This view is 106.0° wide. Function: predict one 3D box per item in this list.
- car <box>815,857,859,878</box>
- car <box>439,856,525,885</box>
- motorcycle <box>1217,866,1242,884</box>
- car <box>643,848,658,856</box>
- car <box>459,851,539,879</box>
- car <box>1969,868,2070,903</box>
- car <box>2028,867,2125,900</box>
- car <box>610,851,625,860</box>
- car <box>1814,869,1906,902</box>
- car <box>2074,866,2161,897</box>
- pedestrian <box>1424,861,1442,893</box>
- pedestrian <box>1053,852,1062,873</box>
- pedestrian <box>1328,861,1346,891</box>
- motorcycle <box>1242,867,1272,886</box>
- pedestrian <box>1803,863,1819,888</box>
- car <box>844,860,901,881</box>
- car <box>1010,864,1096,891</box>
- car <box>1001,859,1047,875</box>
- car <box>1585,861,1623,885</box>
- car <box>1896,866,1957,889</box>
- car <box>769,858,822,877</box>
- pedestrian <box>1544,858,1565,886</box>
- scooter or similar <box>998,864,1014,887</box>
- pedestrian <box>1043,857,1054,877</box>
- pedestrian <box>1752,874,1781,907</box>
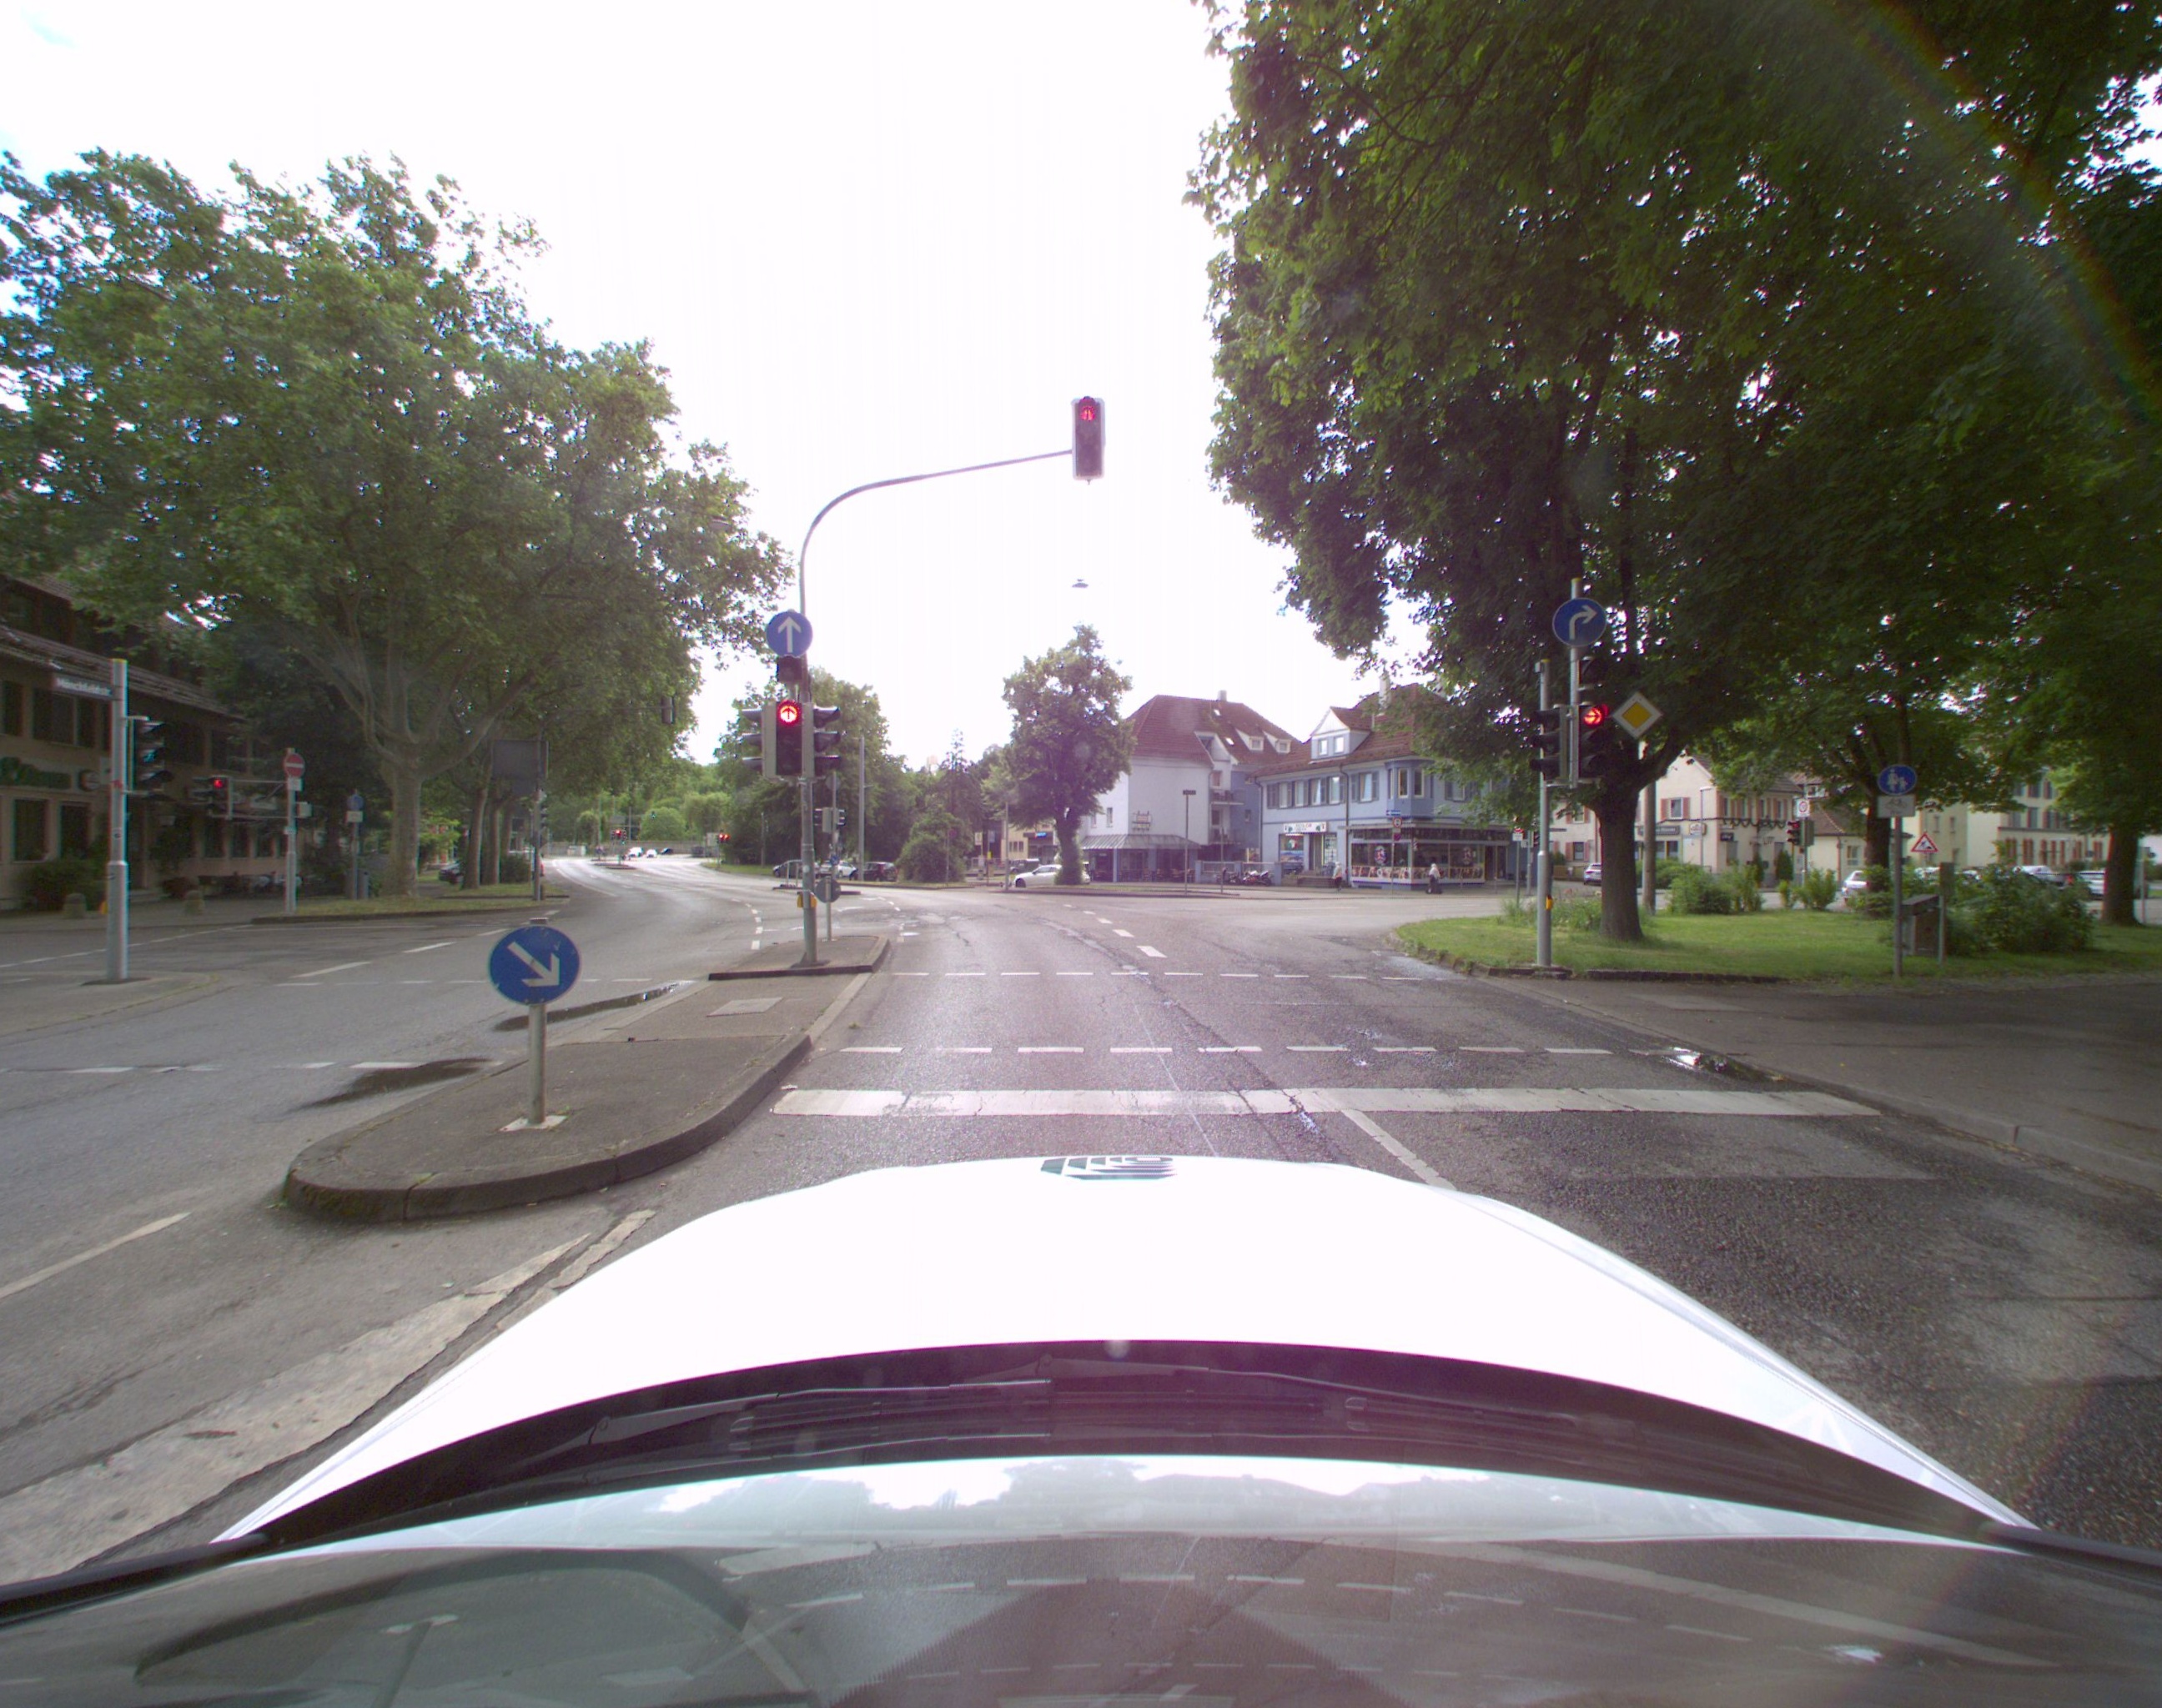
[{"bbox_3d":[-20.139,1.090,67.411,1.848,1.640,3.768,0,0,13],"label":"car"},{"bbox_3d":[-35.634,0.958,48.612,4.015,1.684,1.979,0,-1,-34],"label":"car"},{"bbox_3d":[9.130,1.312,50.051,1.441,1.088,0.527,-1,-1,37],"label":"motorcycle"},{"bbox_3d":[-83.159,-0.404,157.341,2.988,1.417,1.509,-1,-2,42],"label":"car"},{"bbox_3d":[-36.464,0.683,51.181,4.015,1.684,1.979,0,-1,-34],"label":"car"},{"bbox_3d":[42.341,1.383,36.755,3.731,1.457,1.640,0,0,-17],"label":"car"},{"bbox_3d":[47.075,1.375,38.518,3.731,1.457,1.640,0,0,-17],"label":"car"},{"bbox_3d":[-87.029,0.278,152.931,3.293,1.486,1.594,-1,-2,43],"label":"car"},{"bbox_3d":[31.825,1.276,33.282,3.007,1.267,1.455,0,-1,-17],"label":"car"},{"bbox_3d":[52.591,1.375,41.256,3.731,1.457,1.640,0,0,-17],"label":"car"},{"bbox_3d":[17.555,1.130,40.574,0.687,1.560,0.671,-1,-1,33],"label":"pedestrian"},{"bbox_3d":[-1.740,0.620,59.474,0.538,1.560,0.470,-1,-1,15],"label":"pedestrian"},{"bbox_3d":[13.642,1.159,43.419,0.724,1.560,0.773,-1,-1,33],"label":"pedestrian"},{"bbox_3d":[10.423,1.322,48.248,1.609,1.088,0.631,-1,-1,34],"label":"motorcycle"},{"bbox_3d":[44.519,1.304,49.680,0.504,1.560,0.507,0,-1,-13],"label":"pedestrian"},{"bbox_3d":[-13.831,1.059,54.005,3.285,1.352,1.791,0,0,29],"label":"car"},{"bbox_3d":[-1.599,1.289,45.936,4.654,1.410,1.914,0,-1,37],"label":"car"},{"bbox_3d":[-5.324,1.240,75.921,3.948,1.442,1.742,0,-1,-18],"label":"car"},{"bbox_3d":[32.454,1.146,50.623,1.866,1.391,3.637,0,0,31],"label":"car"},{"bbox_3d":[55.187,1.524,53.138,3.871,1.447,1.753,0,-1,-28],"label":"car"},{"bbox_3d":[-22.593,1.031,64.520,3.742,1.465,1.629,0,0,20],"label":"car"},{"bbox_3d":[26.400,0.989,45.369,0.671,1.560,0.743,0,-1,-13],"label":"pedestrian"},{"bbox_3d":[-3.957,1.142,42.850,0.439,1.175,1.442,-1,-1,11],"label":"scooter or similar"},{"bbox_3d":[-3.239,1.305,81.118,0.838,2.014,1.051,0,-1,-12],"label":"pedestrian"},{"bbox_3d":[22.710,1.212,26.993,0.505,1.081,0.514,0,-1,-13],"label":"pedestrian"}]
